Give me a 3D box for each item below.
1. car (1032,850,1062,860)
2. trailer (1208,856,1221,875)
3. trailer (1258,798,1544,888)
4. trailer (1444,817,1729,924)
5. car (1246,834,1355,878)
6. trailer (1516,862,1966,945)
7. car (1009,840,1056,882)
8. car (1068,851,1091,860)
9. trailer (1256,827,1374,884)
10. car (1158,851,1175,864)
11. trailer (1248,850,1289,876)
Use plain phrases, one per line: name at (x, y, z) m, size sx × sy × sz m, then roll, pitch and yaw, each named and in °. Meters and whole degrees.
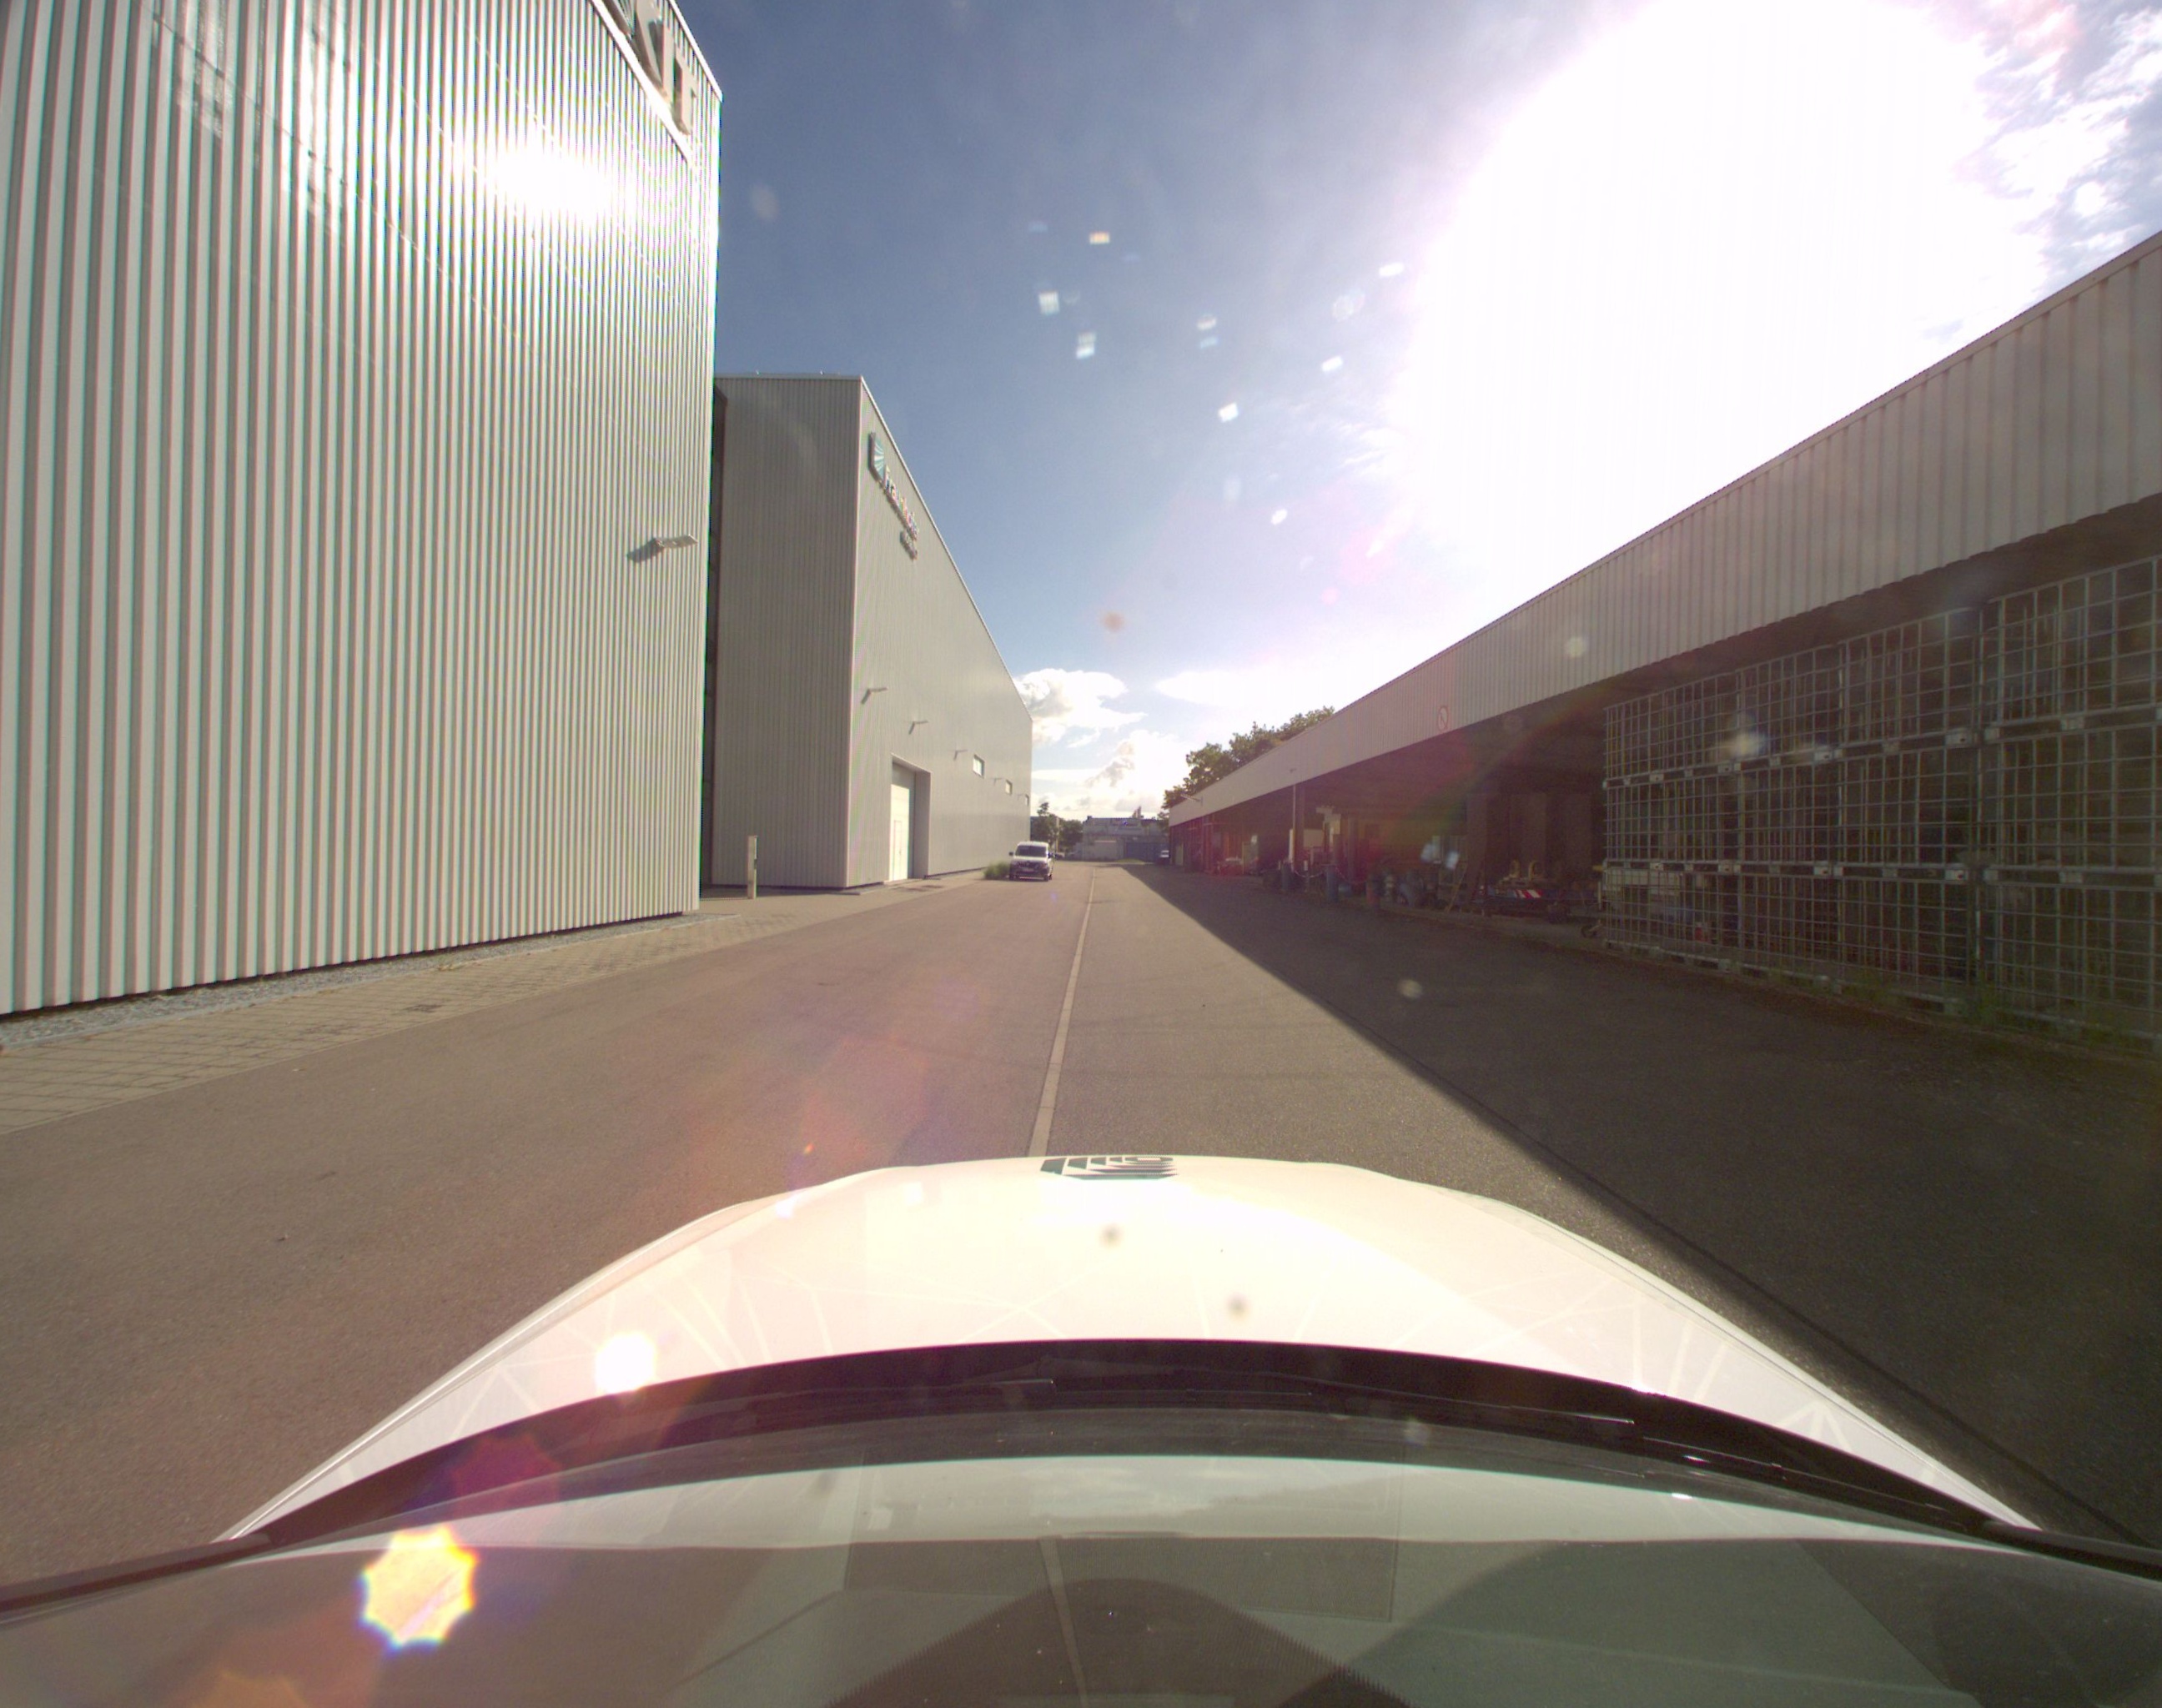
car at (-5.016, 0.150, 120.473) m, size 4.433 × 1.531 × 1.824 m, roll 0°, pitch 0°, yaw 0°
trailer at (8.079, 0.667, 49.324) m, size 0.550 × 1.118 × 1.546 m, roll 0°, pitch 0°, yaw -1°
trailer at (12.438, -0.429, 32.272) m, size 10.231 × 3.343 × 2.802 m, roll 0°, pitch 0°, yaw 1°
trailer at (10.018, 0.313, 16.456) m, size 4.405 × 1.990 × 2.164 m, roll 0°, pitch 0°, yaw 2°
car at (11.666, 0.111, 43.572) m, size 5.315 × 2.281 × 2.152 m, roll 0°, pitch -1°, yaw 0°
trailer at (10.360, 0.743, 13.113) m, size 5.710 × 1.185 × 1.974 m, roll 0°, pitch 0°, yaw -1°
car at (-2.219, 0.330, 38.481) m, size 1.777 × 1.816 × 4.602 m, roll 2°, pitch 0°, yaw 1°
car at (-0.248, 0.267, 148.333) m, size 4.288 × 1.457 × 1.824 m, roll 0°, pitch 0°, yaw 0°
trailer at (9.925, 0.077, 34.789) m, size 4.499 × 2.342 × 2.048 m, roll 0°, pitch 0°, yaw 2°
car at (11.353, 0.429, 107.878) m, size 1.971 × 1.602 × 4.380 m, roll 0°, pitch 1°, yaw 3°
trailer at (10.597, 0.496, 46.193) m, size 2.028 × 1.466 × 1.741 m, roll 0°, pitch 0°, yaw 5°
